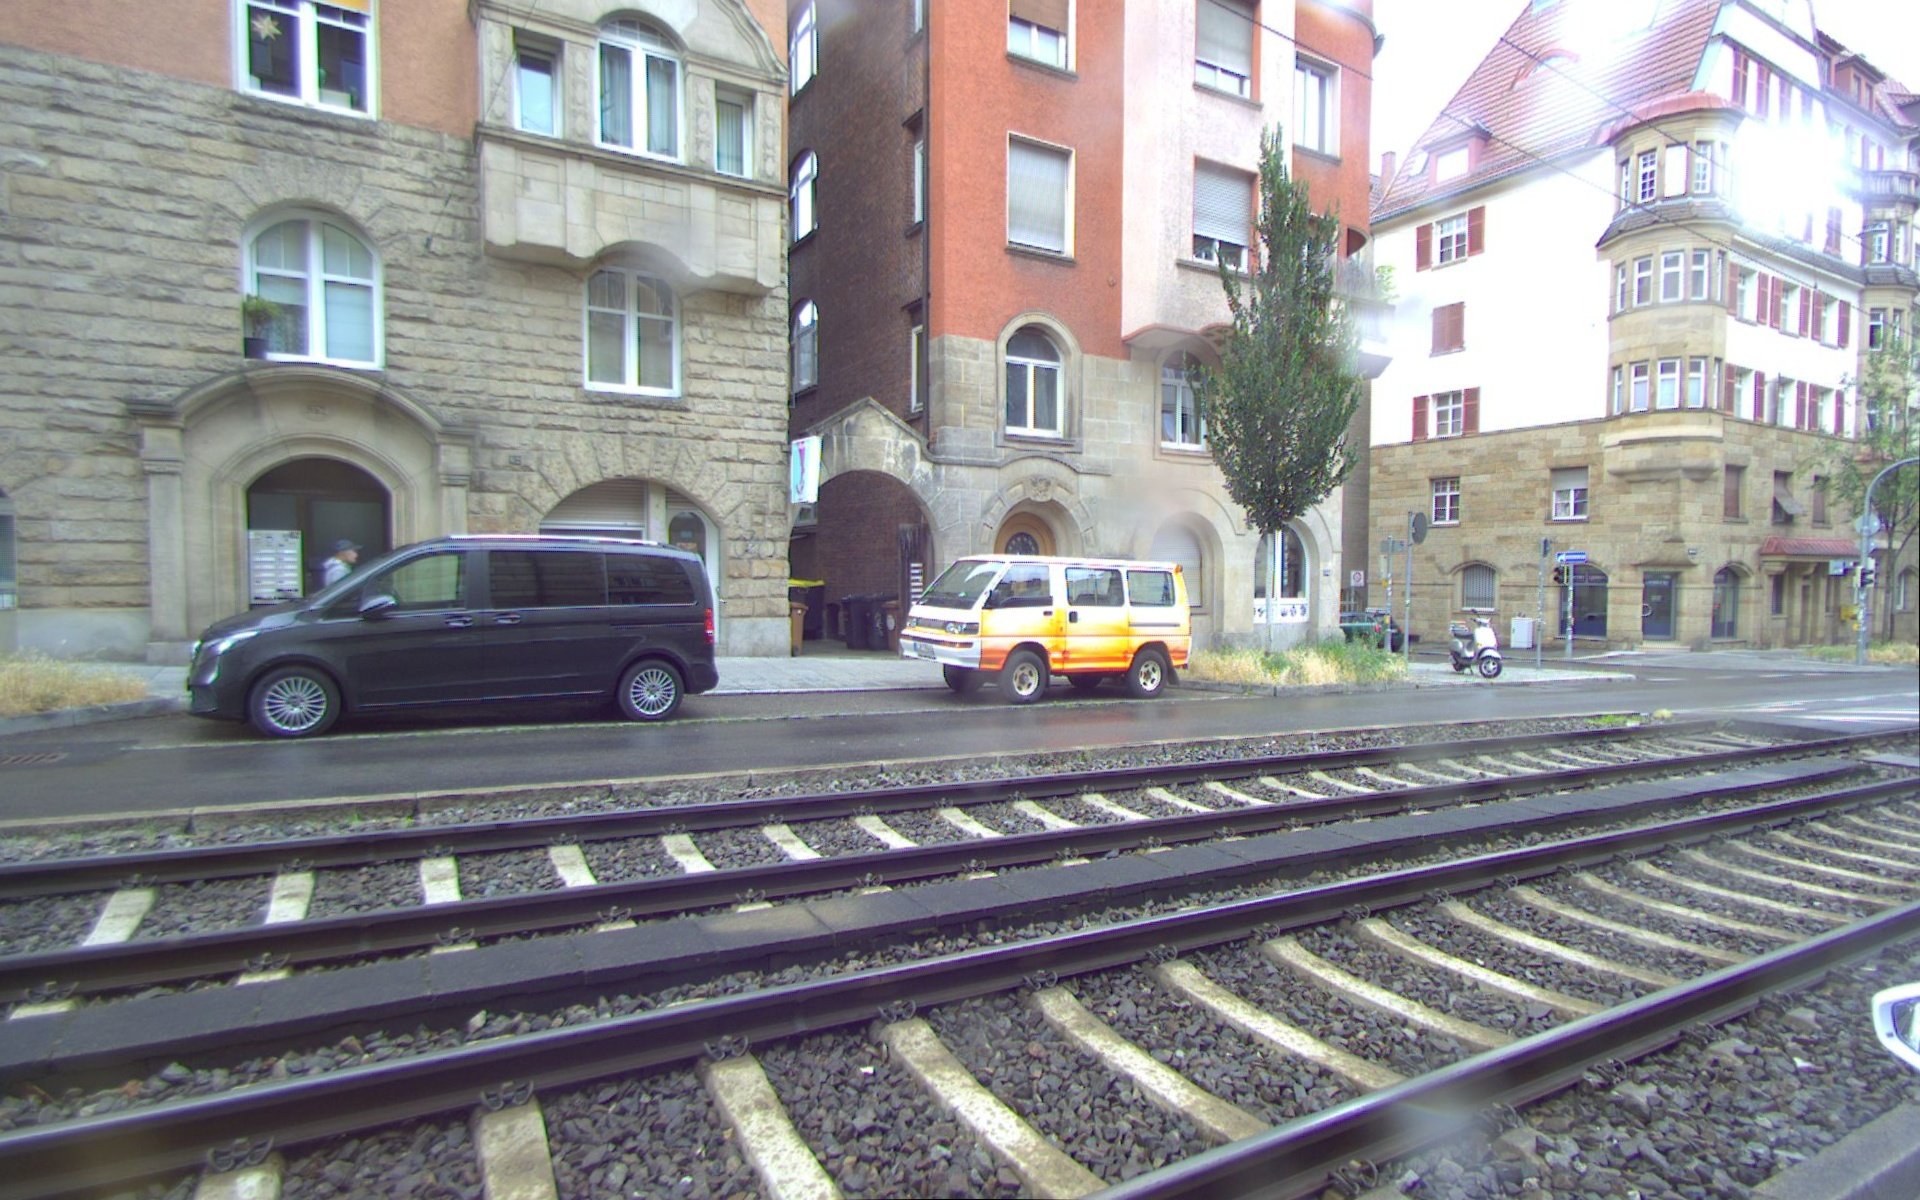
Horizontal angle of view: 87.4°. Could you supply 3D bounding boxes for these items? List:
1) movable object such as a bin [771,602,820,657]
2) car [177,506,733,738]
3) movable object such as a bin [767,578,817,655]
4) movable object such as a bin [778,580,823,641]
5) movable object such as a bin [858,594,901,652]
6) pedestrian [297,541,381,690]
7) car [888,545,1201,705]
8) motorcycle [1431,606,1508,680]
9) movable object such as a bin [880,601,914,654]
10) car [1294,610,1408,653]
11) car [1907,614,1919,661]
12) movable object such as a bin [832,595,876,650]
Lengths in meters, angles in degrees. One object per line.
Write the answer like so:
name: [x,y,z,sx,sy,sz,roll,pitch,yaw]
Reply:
movable object such as a bin: [-2.884,0.516,17.590,0.627,0.918,0.793,1,1,-27]
car: [-5.044,0.245,10.595,4.769,1.968,1.984,2,0,-30]
movable object such as a bin: [-3.099,0.295,18.463,0.648,1.360,0.903,1,1,-27]
movable object such as a bin: [-3.602,0.230,22.657,0.676,1.324,1.154,1,1,-26]
movable object such as a bin: [-1.538,0.434,19.139,0.607,1.090,0.679,1,-1,-27]
pedestrian: [-7.176,0.180,11.638,0.756,1.664,0.696,2,0,-30]
car: [1.283,0.371,14.439,4.295,2.001,1.721,2,0,-32]
motorcycle: [10.114,0.827,19.999,0.612,1.384,1.596,2,0,-3]
movable object such as a bin: [-1.165,0.509,18.631,0.442,0.957,0.557,1,-1,-27]
car: [14.470,1.150,37.342,1.683,1.423,3.618,2,0,-34]
car: [34.177,1.332,34.351,3.994,1.573,1.741,2,0,-34]
movable object such as a bin: [-2.076,0.439,19.685,0.607,1.052,0.793,1,-1,-27]
